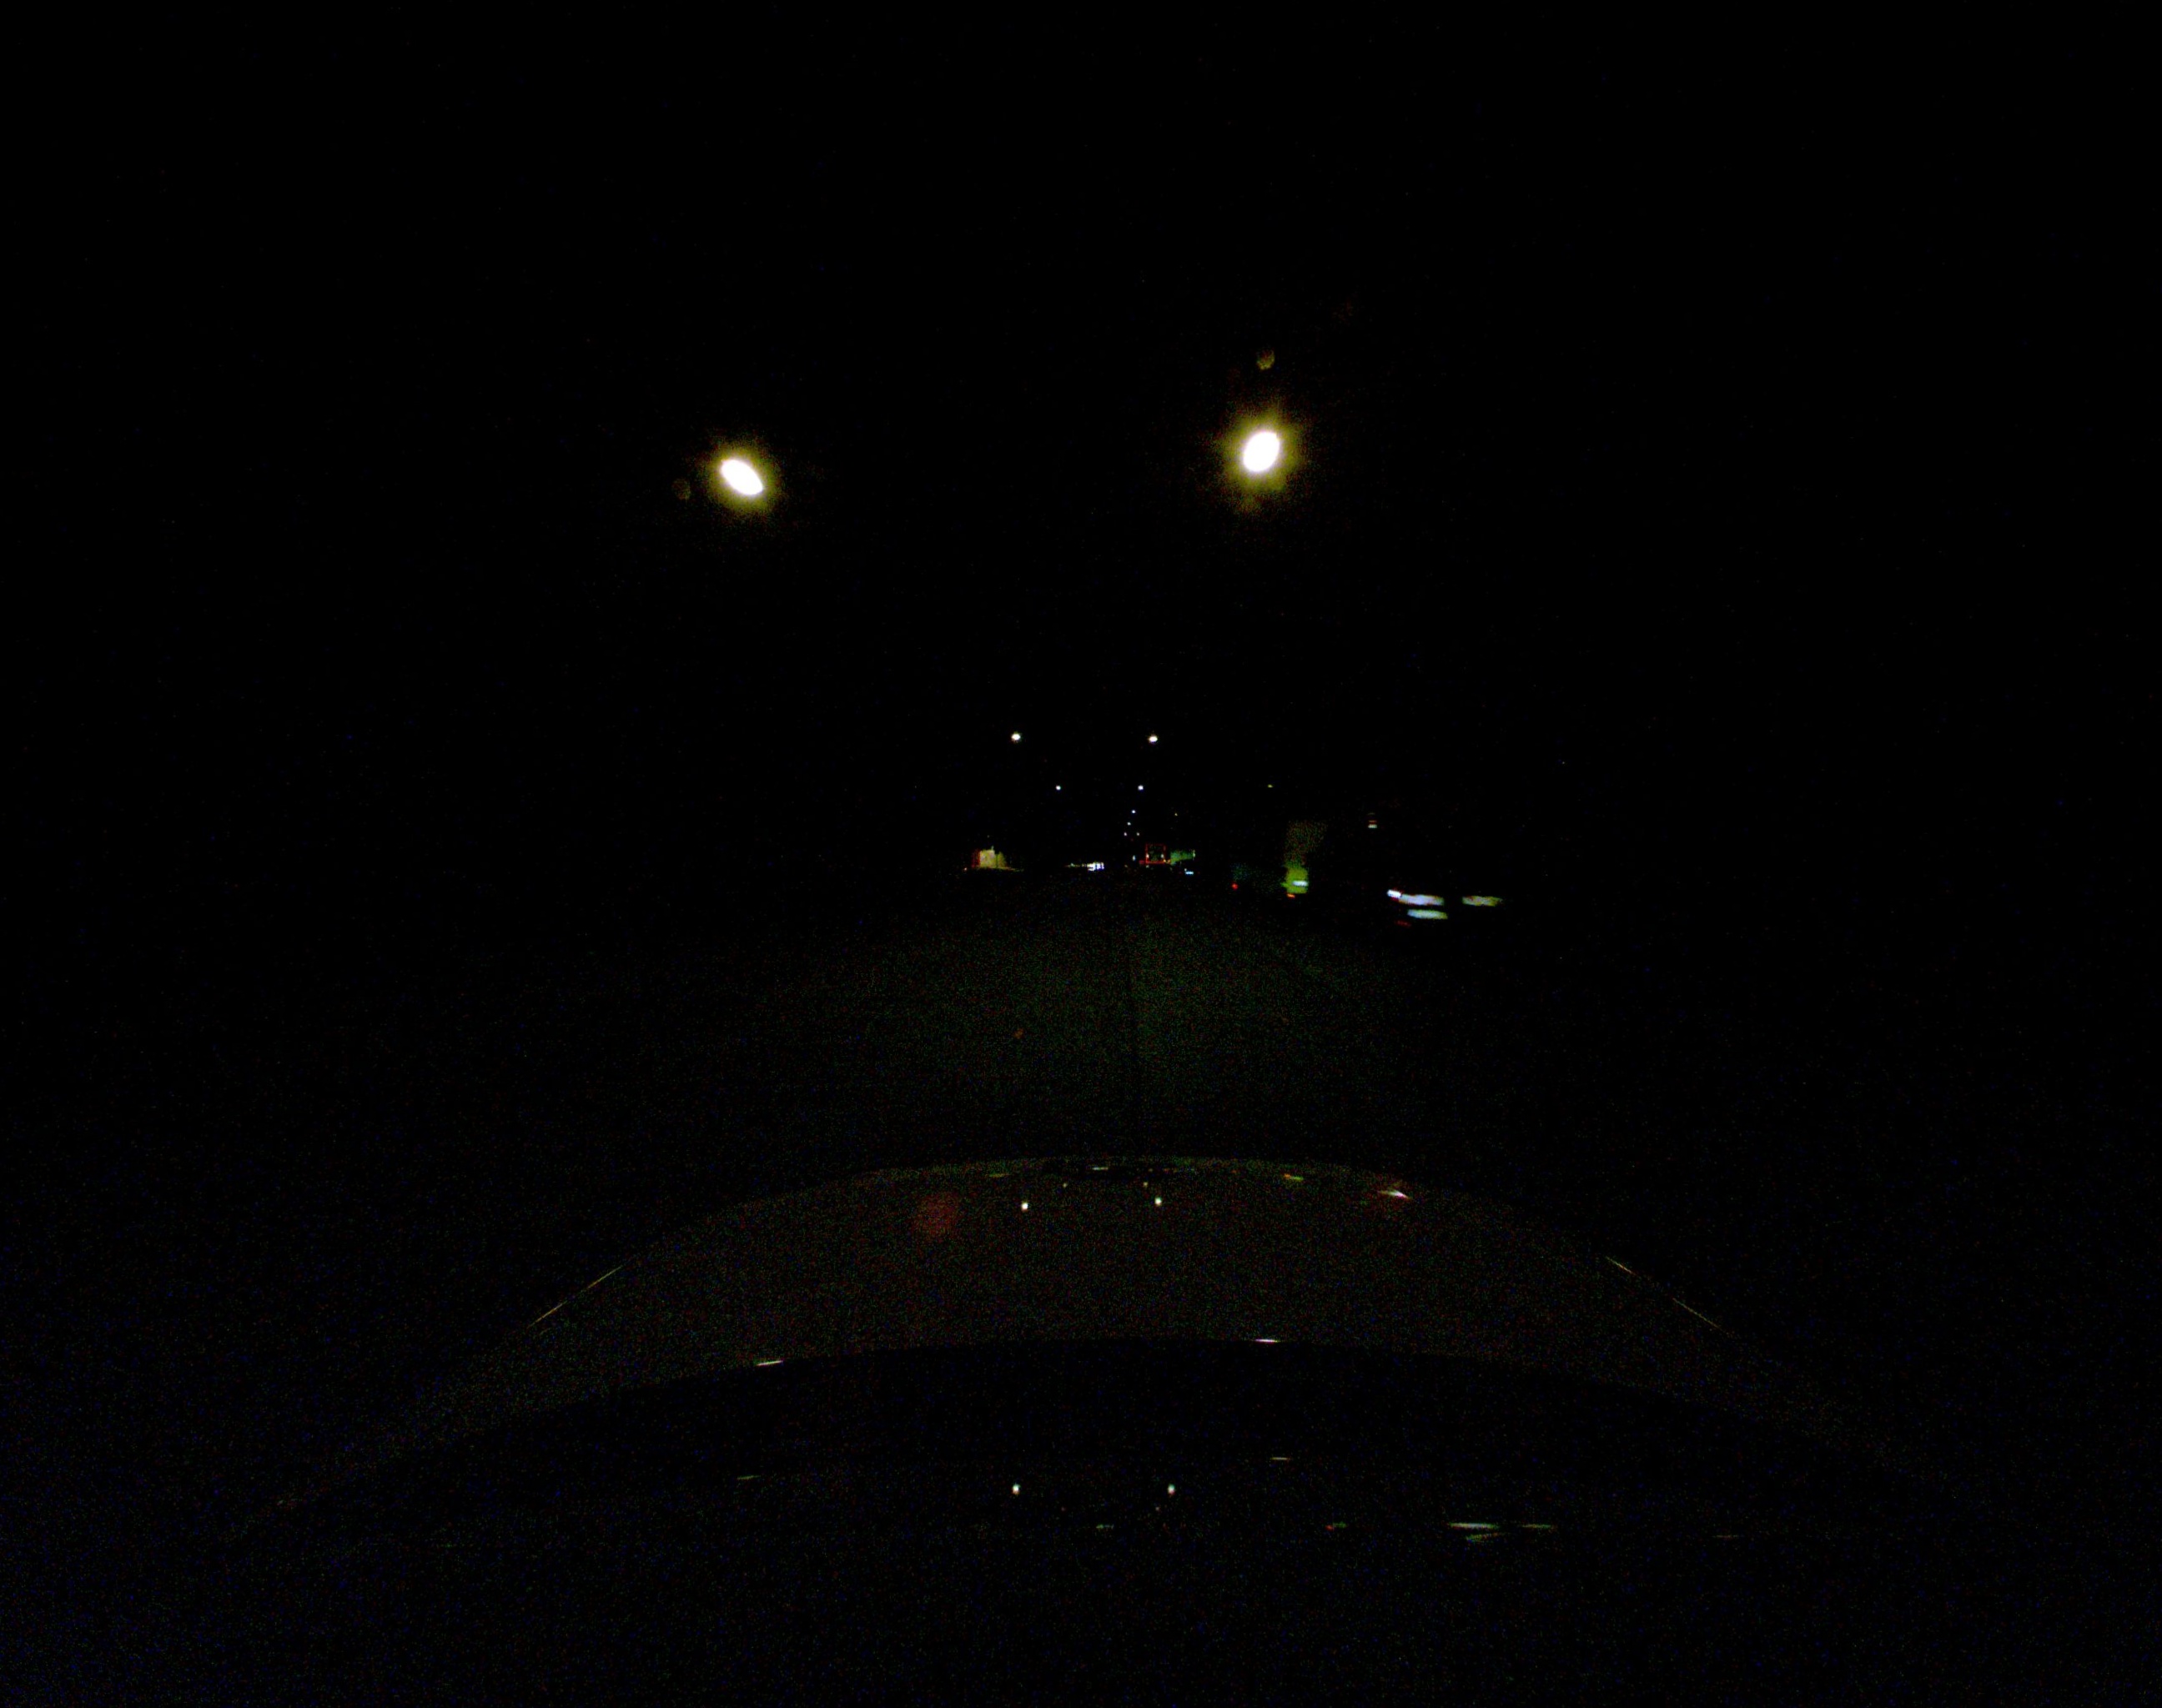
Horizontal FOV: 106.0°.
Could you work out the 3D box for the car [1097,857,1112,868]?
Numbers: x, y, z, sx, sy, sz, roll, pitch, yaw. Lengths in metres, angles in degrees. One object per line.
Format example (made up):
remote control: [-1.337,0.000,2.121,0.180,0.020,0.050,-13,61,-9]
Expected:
car: [7.133,2.491,244.813,2.500,3.171,7.168,-3,-1,16]

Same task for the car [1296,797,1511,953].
car: [6.070,0.349,16.333,1.987,2.548,6.026,0,0,1]

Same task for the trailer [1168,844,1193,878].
trailer: [8.108,0.562,66.618,1.984,2.651,4.006,-1,0,5]

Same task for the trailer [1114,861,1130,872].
trailer: [9.723,2.974,192.555,1.567,2.161,5.178,-2,-2,-25]

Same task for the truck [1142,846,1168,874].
truck: [10.394,0.869,115.117,3.311,3.868,9.333,-1,-1,3]

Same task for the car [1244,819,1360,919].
car: [6.335,0.398,24.206,1.932,2.548,6.651,-1,0,3]

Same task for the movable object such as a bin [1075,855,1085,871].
movable object such as a bin: [-0.173,1.698,152.990,1.567,2.734,3.695,-4,0,-4]

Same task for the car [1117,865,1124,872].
car: [10.064,3.759,207.560,1.713,1.661,4.003,-1,-2,3]

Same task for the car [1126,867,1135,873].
car: [14.429,4.690,236.067,1.707,1.821,4.018,-1,-2,18]

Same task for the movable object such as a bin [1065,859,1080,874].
movable object such as a bin: [-1.361,2.040,132.324,1.553,2.467,2.822,-2,-1,-18]

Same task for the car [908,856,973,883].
car: [-10.532,1.173,61.282,4.415,1.972,2.001,0,0,2]

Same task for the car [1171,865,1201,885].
car: [7.770,1.537,60.741,1.720,1.386,4.677,0,0,1]

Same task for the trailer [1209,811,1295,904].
trailer: [6.502,0.127,31.473,2.390,3.325,4.361,0,0,0]
